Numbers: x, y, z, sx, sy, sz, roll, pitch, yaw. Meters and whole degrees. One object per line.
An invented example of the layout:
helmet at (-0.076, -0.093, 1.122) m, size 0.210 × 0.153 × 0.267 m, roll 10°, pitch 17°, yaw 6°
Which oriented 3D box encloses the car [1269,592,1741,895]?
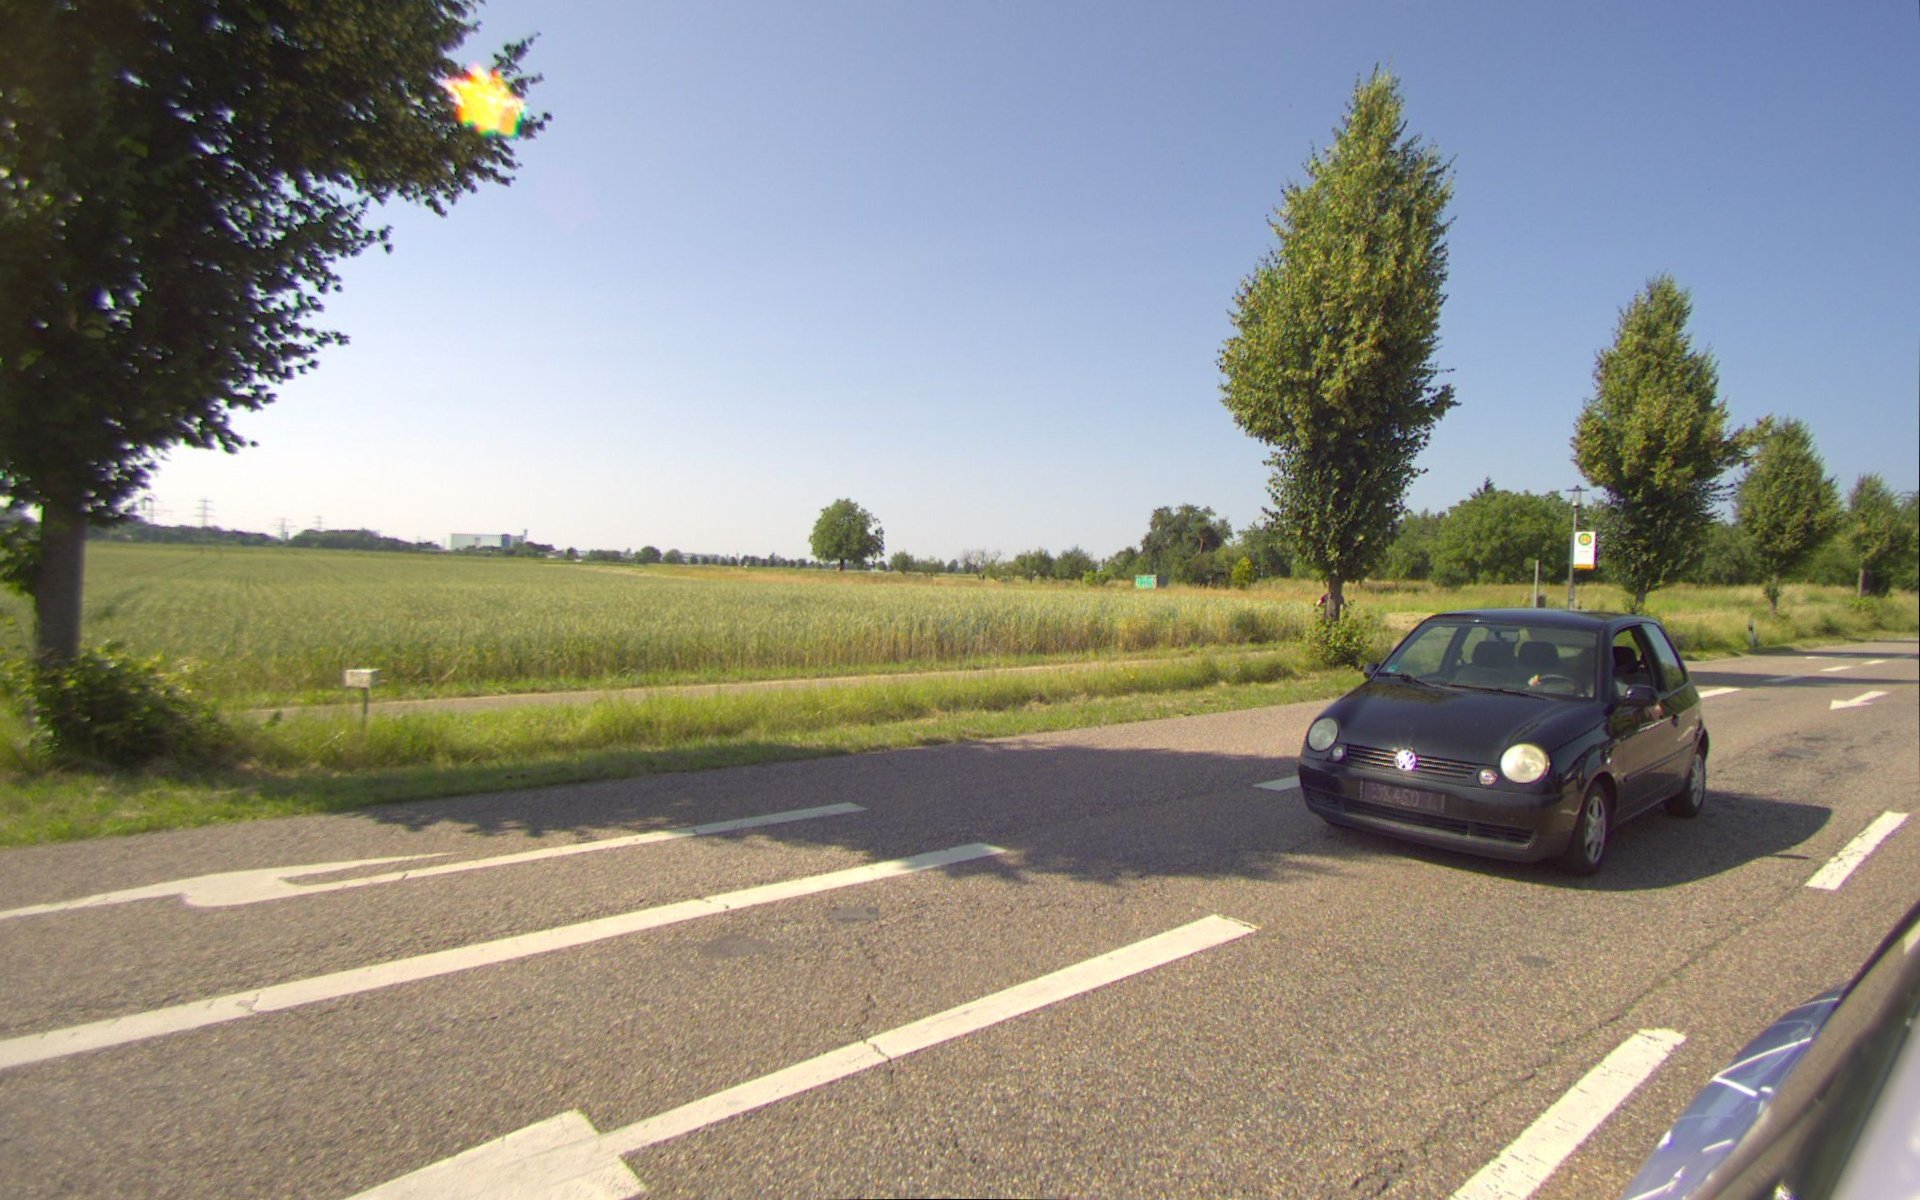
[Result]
car at (3.730, 0.689, 6.676) m, size 3.560 × 1.451 × 1.628 m, roll 0°, pitch 0°, yaw -42°

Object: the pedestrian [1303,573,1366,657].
pedestrian at (8.669, 0.328, 23.410) m, size 1.174 × 1.862 × 0.903 m, roll 1°, pitch 1°, yaw -43°
